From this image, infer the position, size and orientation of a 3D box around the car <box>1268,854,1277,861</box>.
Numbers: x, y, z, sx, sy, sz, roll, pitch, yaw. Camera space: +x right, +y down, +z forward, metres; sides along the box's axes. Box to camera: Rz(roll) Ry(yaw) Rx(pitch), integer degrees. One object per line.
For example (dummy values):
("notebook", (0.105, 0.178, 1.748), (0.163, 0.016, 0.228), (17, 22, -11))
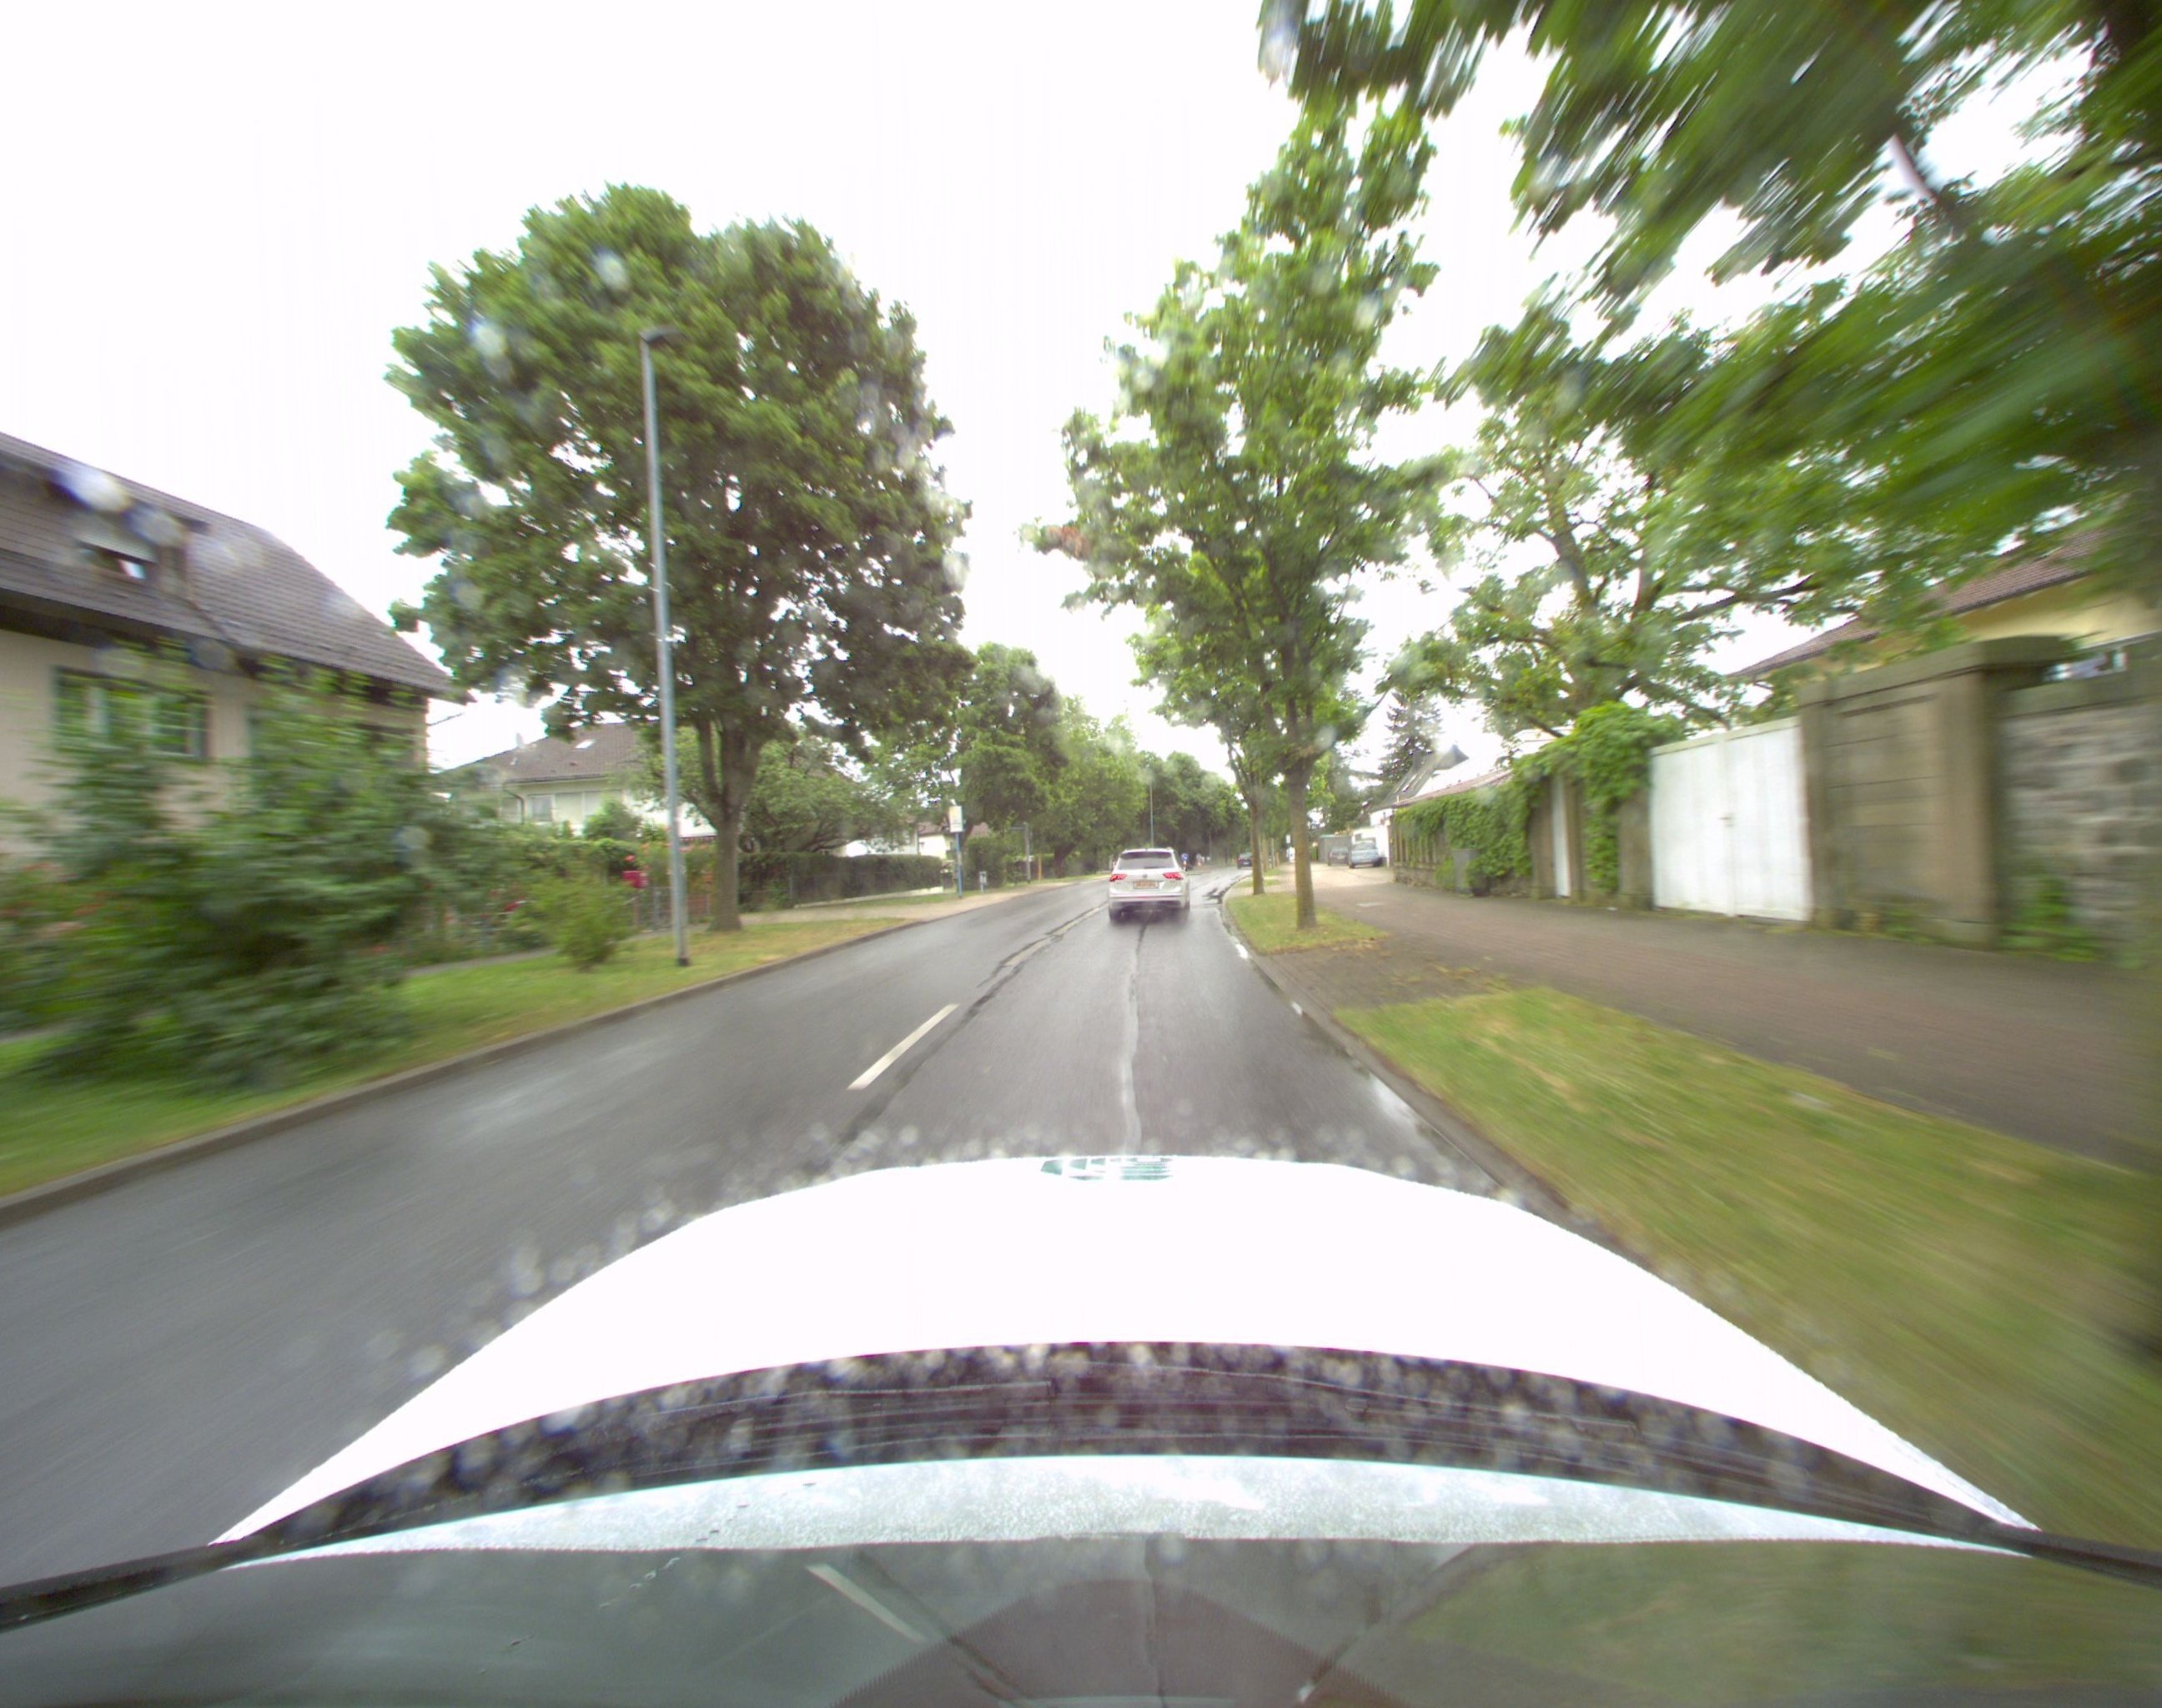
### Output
("car", (36.113, 0.616, 153.897), (1.626, 1.326, 4.014), (-1, 0, 13))

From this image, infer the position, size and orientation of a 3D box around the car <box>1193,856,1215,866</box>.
("car", (19.872, 1.141, 131.705), (1.847, 1.482, 3.973), (-3, -1, -20))

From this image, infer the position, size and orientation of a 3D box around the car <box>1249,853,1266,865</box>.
("car", (23.889, 0.709, 110.233), (1.830, 1.487, 4.010), (-4, -1, 9))

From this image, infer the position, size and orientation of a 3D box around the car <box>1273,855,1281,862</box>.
("car", (42.935, 1.000, 178.009), (1.626, 1.326, 4.014), (-1, 0, 13))

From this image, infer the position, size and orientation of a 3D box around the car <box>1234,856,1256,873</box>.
("car", (15.533, 0.986, 76.901), (1.827, 1.487, 4.016), (0, 0, 14))

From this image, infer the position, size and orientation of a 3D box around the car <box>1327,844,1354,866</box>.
("car", (19.760, 0.062, 62.161), (1.758, 1.498, 4.563), (-4, -1, 16))

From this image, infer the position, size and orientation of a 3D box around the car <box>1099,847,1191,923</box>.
("car", (1.653, 0.691, 19.916), (1.986, 1.632, 4.008), (-1, 0, 7))

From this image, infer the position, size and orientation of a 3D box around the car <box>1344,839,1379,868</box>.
("car", (17.038, -0.024, 49.586), (1.730, 1.611, 4.017), (-4, -1, 16))

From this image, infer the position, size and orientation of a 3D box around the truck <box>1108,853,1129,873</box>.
("truck", (5.236, 1.292, 113.289), (2.271, 2.597, 5.888), (-3, -1, 8))

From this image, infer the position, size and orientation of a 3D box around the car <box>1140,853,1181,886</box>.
("car", (4.001, 0.775, 41.323), (1.833, 1.487, 4.003), (-4, -1, 3))
